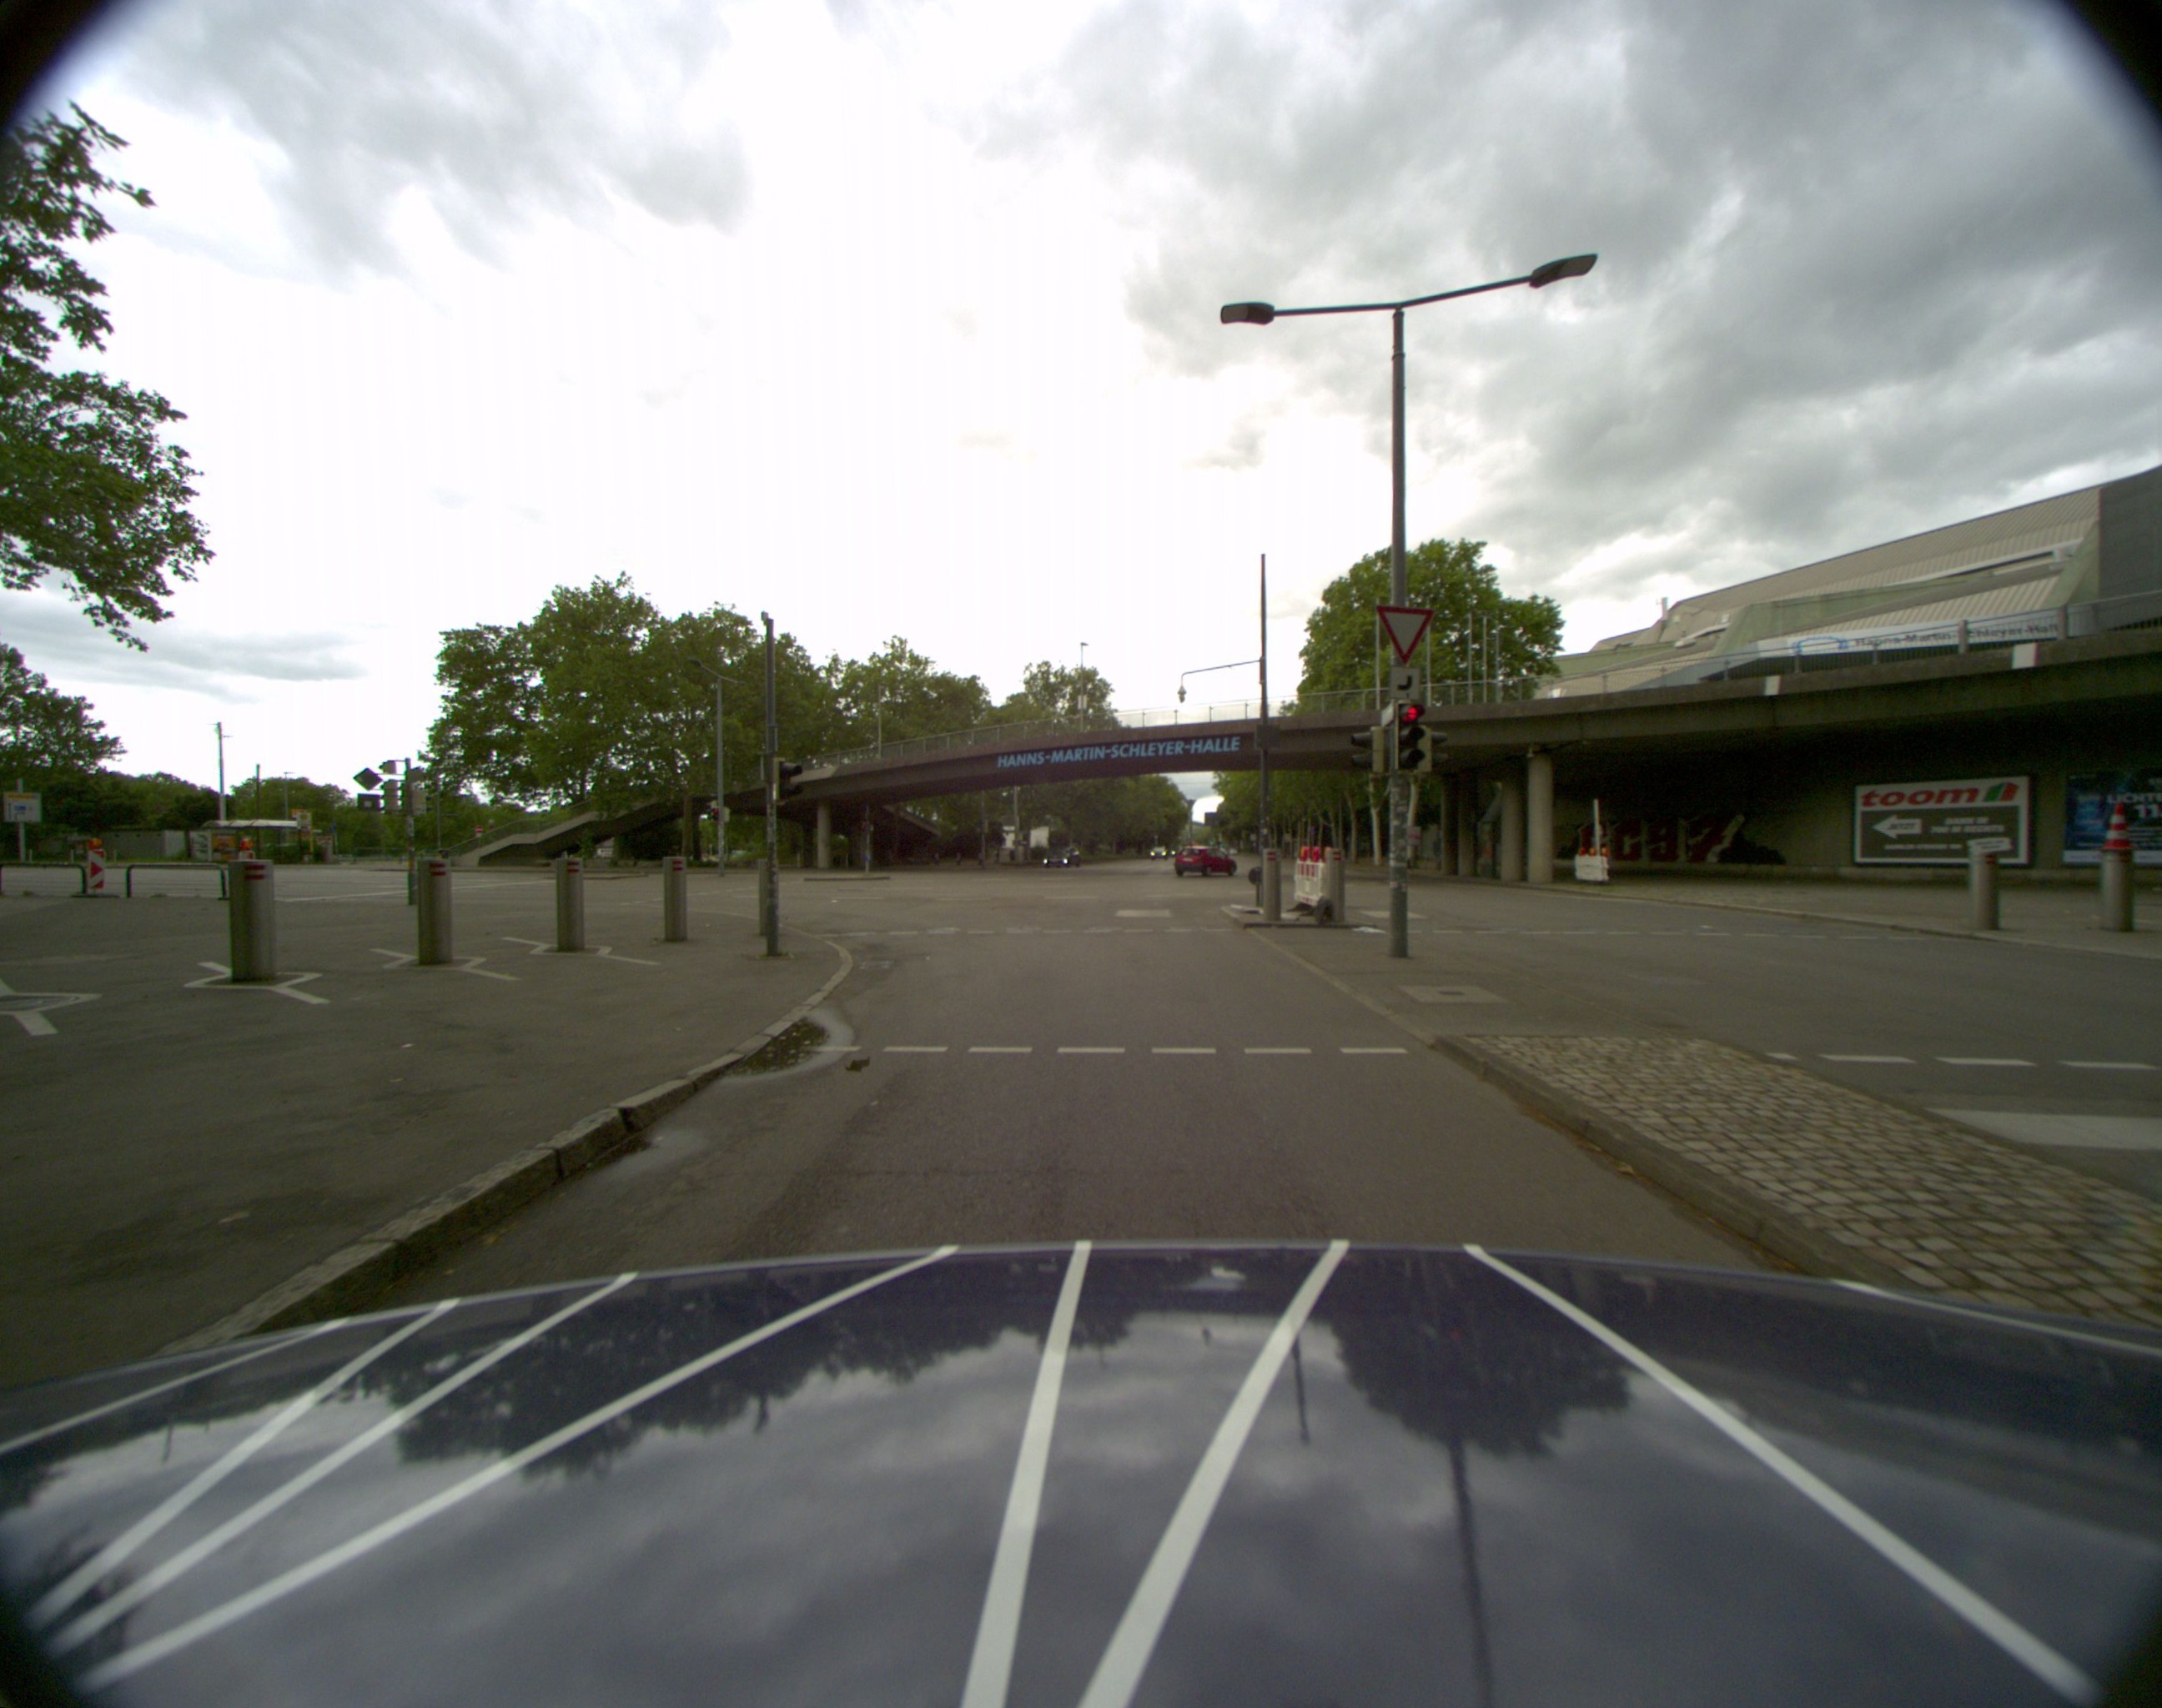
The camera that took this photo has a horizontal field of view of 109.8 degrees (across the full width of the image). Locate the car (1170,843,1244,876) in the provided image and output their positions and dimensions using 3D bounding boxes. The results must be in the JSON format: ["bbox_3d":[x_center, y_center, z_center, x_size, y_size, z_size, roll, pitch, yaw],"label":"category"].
[{"bbox_3d":[6.197,0.214,36.955,1.829,1.443,4.084,1,2,37],"label":"car"}]

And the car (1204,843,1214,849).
[{"bbox_3d":[34.083,-2.168,202.540,1.998,1.650,3.999,0,1,2],"label":"car"}]

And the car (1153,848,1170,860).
[{"bbox_3d":[9.880,-0.007,93.077,1.761,1.357,3.718,1,3,10],"label":"car"}]

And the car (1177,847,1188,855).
[{"bbox_3d":[19.488,-0.607,145.582,1.760,1.357,3.718,1,3,12],"label":"car"}]

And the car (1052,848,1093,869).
[{"bbox_3d":[-0.570,0.316,55.321,1.759,1.314,3.721,1,3,21],"label":"car"}]

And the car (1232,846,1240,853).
[{"bbox_3d":[33.121,-0.993,162.363,1.613,1.305,3.397,0,1,10],"label":"car"}]

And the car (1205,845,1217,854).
[{"bbox_3d":[21.186,-0.761,123.862,1.997,1.411,4.002,0,1,10],"label":"car"}]

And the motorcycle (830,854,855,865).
[{"bbox_3d":[-18.356,0.431,58.523,1.734,0.846,0.650,0,1,14],"label":"motorcycle"}]
